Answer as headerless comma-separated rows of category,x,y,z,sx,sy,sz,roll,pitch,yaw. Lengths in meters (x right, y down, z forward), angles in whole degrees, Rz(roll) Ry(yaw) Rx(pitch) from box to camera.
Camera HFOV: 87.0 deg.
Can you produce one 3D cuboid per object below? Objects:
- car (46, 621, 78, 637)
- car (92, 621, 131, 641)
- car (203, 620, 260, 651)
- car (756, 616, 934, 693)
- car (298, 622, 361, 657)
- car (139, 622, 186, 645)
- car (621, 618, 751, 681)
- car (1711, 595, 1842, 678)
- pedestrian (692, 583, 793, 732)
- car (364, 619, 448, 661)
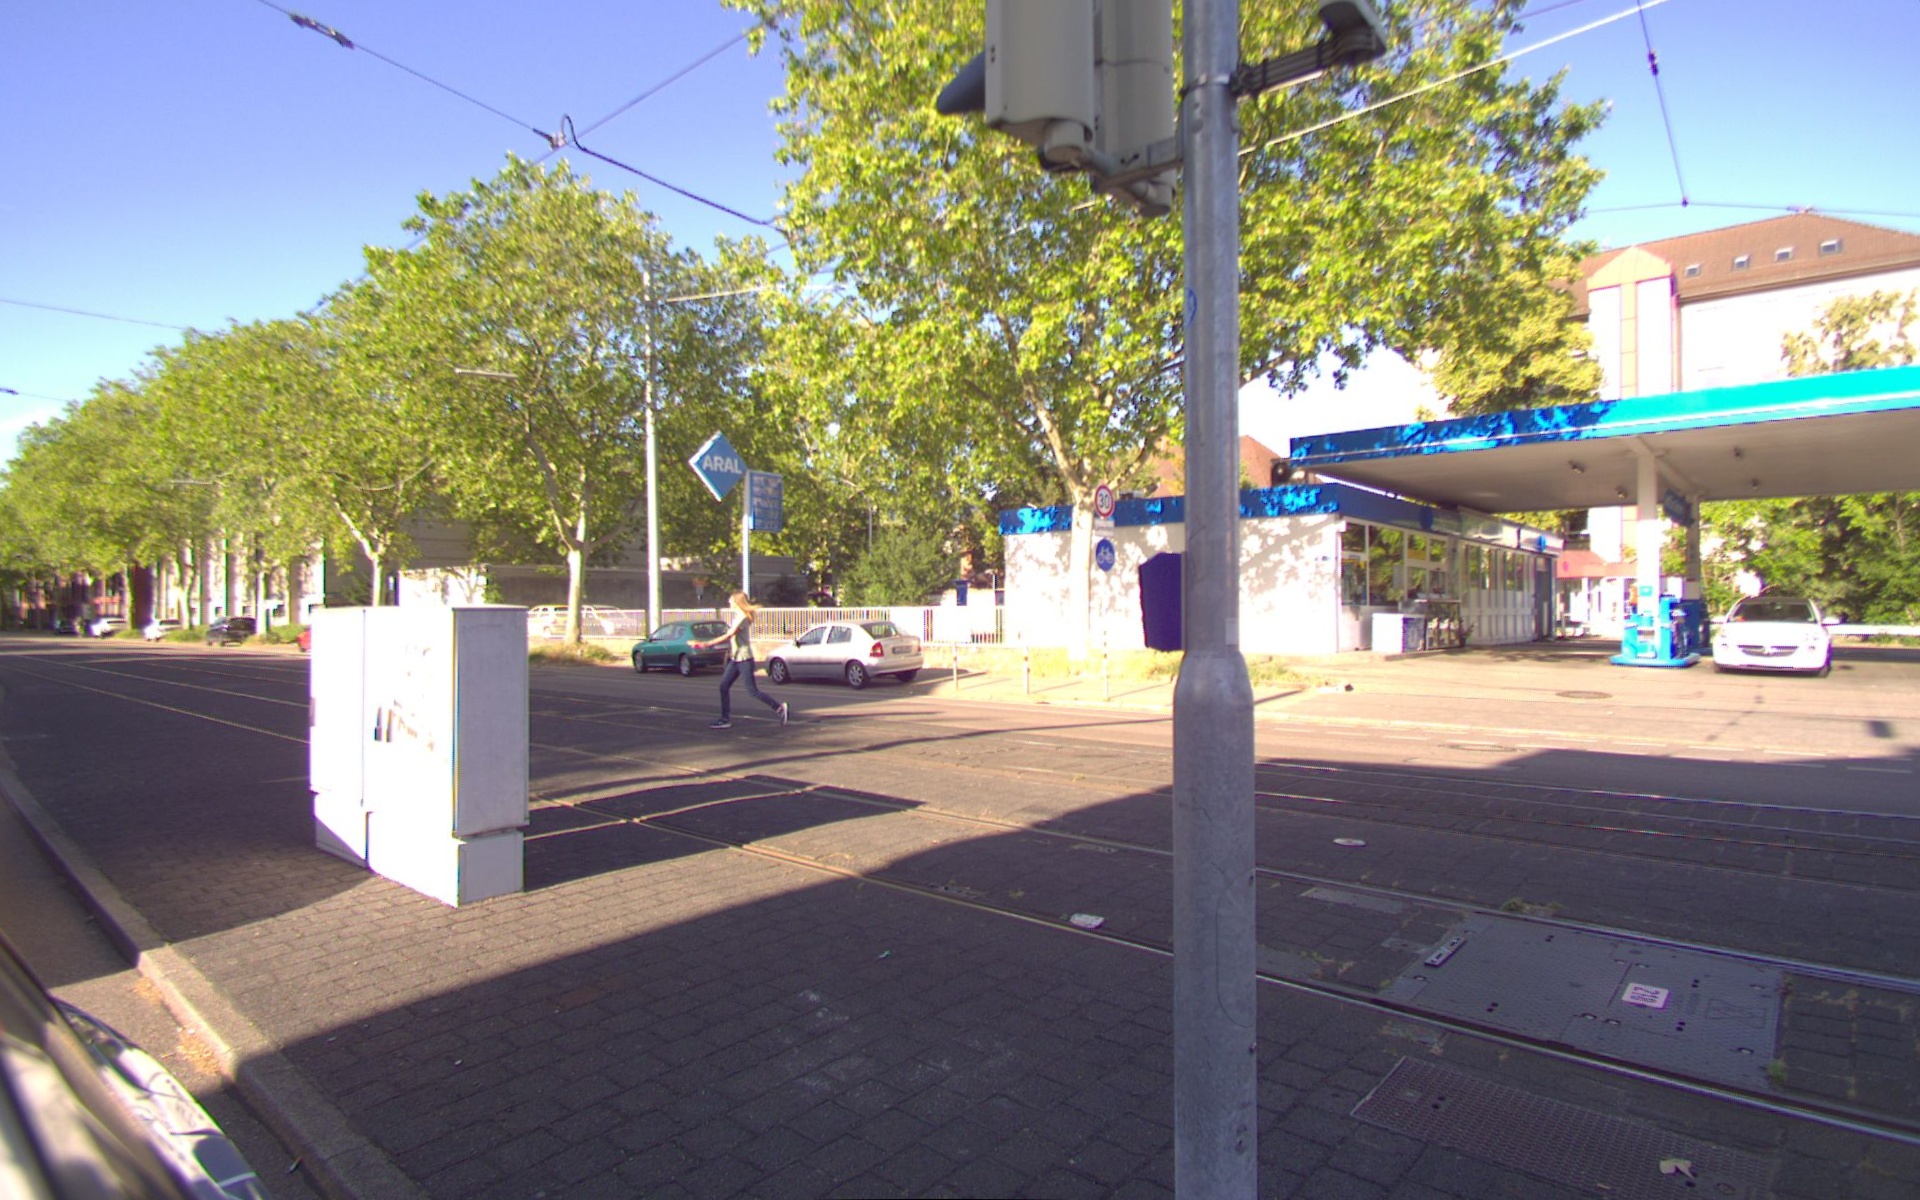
car,-85.325,2.723,96.124,3.998,1.525,1.779,-1,-1,41
car,-66.686,2.395,79.535,3.998,1.525,1.779,-1,-1,41
car,-40.758,1.949,56.595,3.998,1.674,1.779,-1,-1,41
car,-2.635,1.158,22.665,3.965,1.475,1.771,-1,2,43
car,-28.559,1.748,45.803,3.045,1.519,1.620,-1,-1,41
car,-53.723,2.260,68.169,3.998,1.509,1.779,-1,-1,41
car,-7.333,1.276,26.934,3.519,1.475,1.670,-1,2,43
car,16.022,0.677,19.909,1.812,1.453,3.947,-1,-1,39
pedestrian,-2.526,0.649,11.841,1.081,1.674,0.696,-1,0,-7
car,-21.946,1.548,40.055,3.652,1.541,1.802,-1,-1,41
